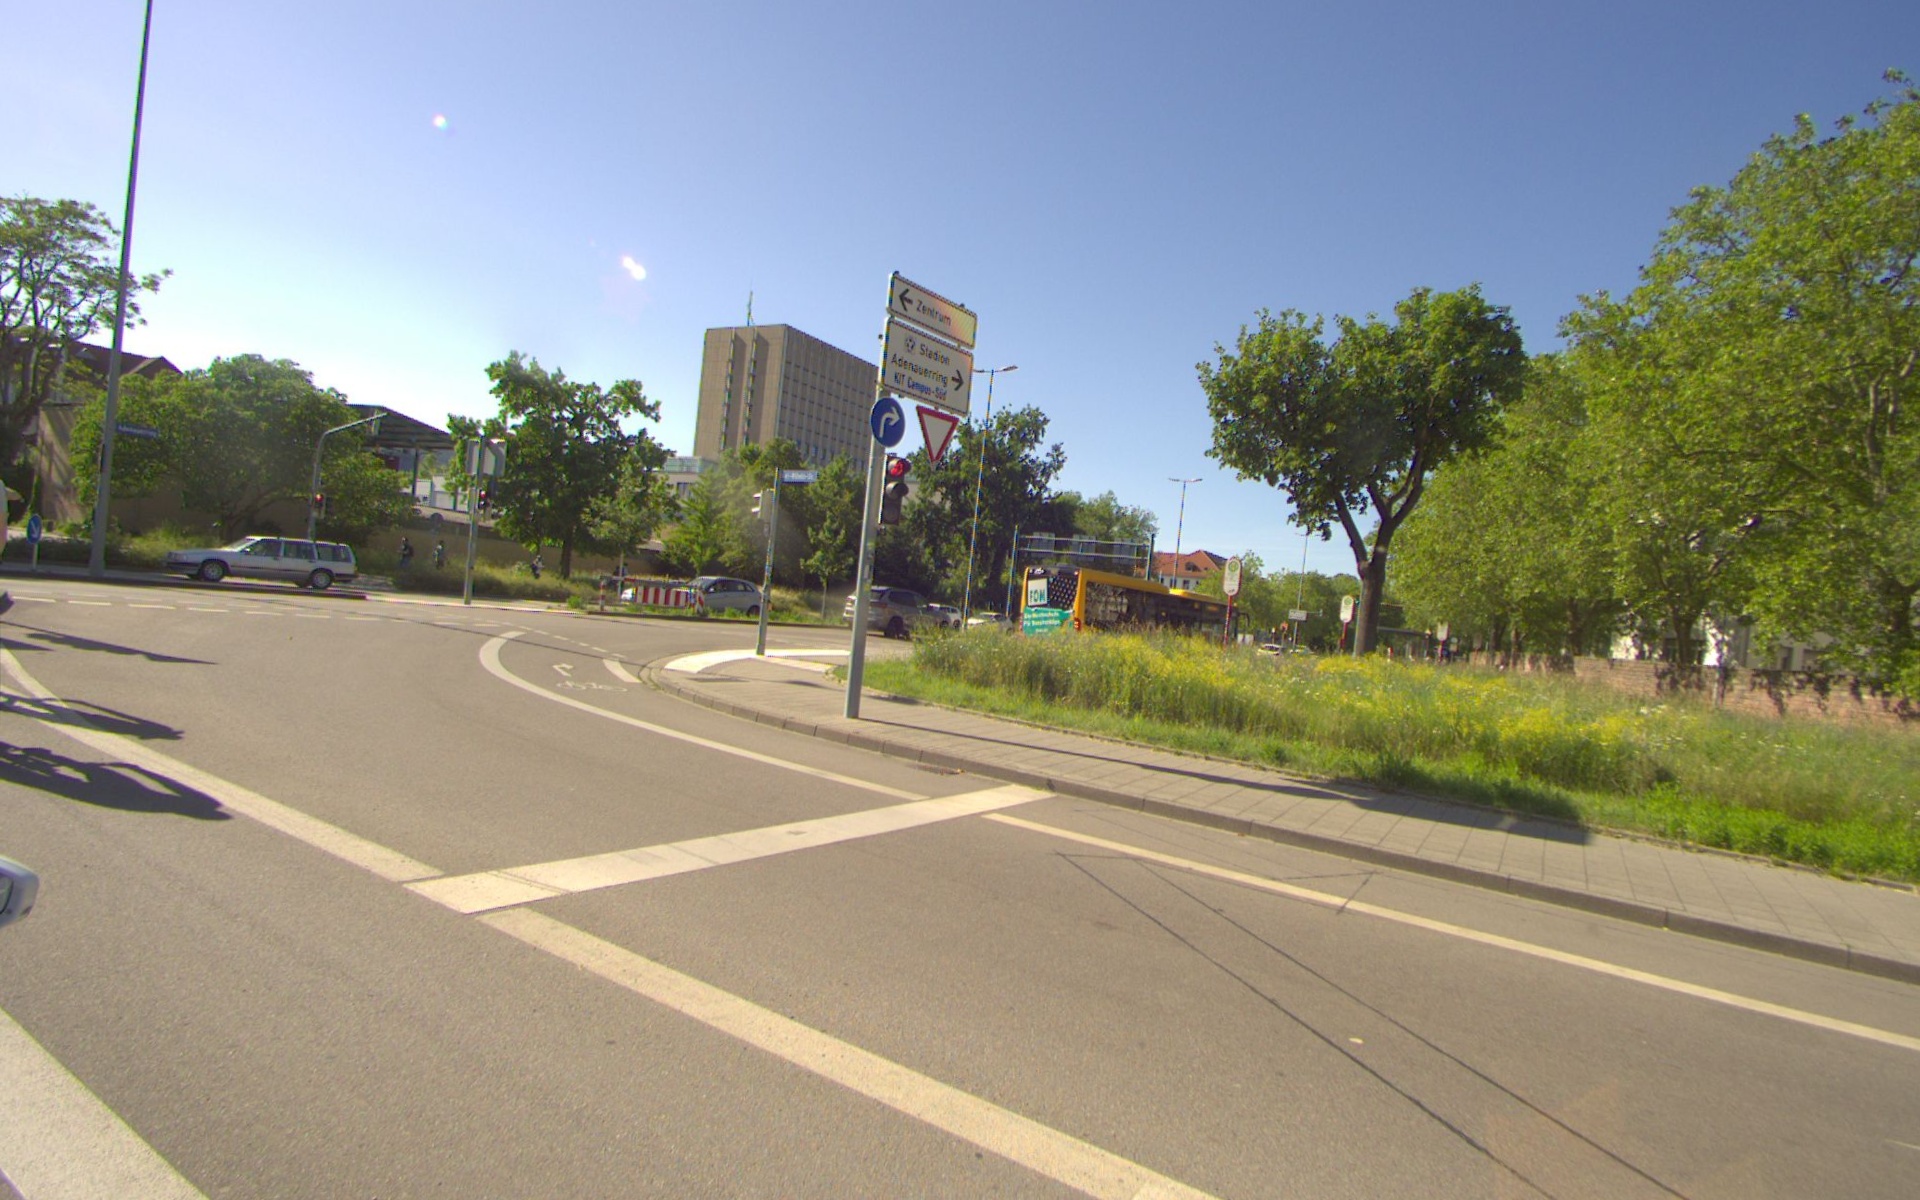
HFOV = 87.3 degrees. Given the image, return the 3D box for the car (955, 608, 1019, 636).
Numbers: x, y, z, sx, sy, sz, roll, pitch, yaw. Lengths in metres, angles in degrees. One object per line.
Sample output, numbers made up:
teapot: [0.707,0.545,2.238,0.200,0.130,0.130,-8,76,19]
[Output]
car: [1.683,1.378,61.573,1.970,1.378,3.994,5,-1,36]

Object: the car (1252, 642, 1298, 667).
car: [20.721,3.586,66.089,1.731,1.390,3.990,7,0,33]

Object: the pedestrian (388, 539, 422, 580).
pedestrian: [-23.997,-1.763,43.504,0.979,1.625,0.816,6,1,-45]

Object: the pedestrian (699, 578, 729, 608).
pedestrian: [-13.772,-0.393,56.414,0.975,1.540,1.129,7,1,35]

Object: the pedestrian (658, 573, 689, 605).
pedestrian: [-15.620,-0.596,54.823,0.927,1.540,1.145,7,1,38]

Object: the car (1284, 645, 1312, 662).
car: [39.243,6.208,116.853,1.892,1.625,4.072,7,0,35]

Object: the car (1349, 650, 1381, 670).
car: [36.024,5.348,89.475,1.863,1.419,3.849,3,-3,34]

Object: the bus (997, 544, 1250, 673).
bus: [6.644,0.559,38.046,3.203,3.614,12.408,7,0,40]

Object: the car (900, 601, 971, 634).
car: [-1.498,1.106,63.170,1.970,1.625,4.502,7,0,37]

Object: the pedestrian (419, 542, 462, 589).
pedestrian: [-22.714,-1.499,43.960,0.953,1.879,1.294,7,1,43]

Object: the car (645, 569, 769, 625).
car: [-9.387,-0.079,37.586,1.882,1.625,4.124,7,0,37]

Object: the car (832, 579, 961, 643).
car: [-2.264,0.437,36.994,1.975,1.884,4.725,7,0,37]

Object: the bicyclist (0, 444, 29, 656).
bicyclist: [-7.846,-0.443,7.670,1.063,1.601,0.675,7,-1,31]

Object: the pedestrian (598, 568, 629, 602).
pedestrian: [-17.375,-0.742,50.460,0.865,1.540,1.074,7,1,36]

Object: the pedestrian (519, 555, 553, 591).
pedestrian: [-19.950,-1.276,47.332,0.917,1.540,1.083,7,1,41]

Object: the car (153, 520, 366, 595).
car: [-21.035,-1.231,30.414,1.909,1.613,4.860,7,0,38]

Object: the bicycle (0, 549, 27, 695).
bicycle: [-8.020,0.065,7.731,1.813,1.063,0.672,6,-1,31]

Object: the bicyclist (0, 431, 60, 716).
bicyclist: [-6.155,-0.198,6.072,0.851,1.695,0.741,7,1,30]

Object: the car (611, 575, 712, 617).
car: [-13.331,-0.161,45.097,1.784,1.509,3.953,4,-2,38]

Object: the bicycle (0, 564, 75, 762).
bicycle: [-6.276,0.298,6.118,1.871,1.064,0.748,6,1,31]

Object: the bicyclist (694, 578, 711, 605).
bicyclist: [-13.699,-0.452,53.519,0.568,1.385,0.520,7,1,42]

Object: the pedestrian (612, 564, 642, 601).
pedestrian: [-17.225,-0.891,52.019,0.911,1.754,0.963,7,1,34]
